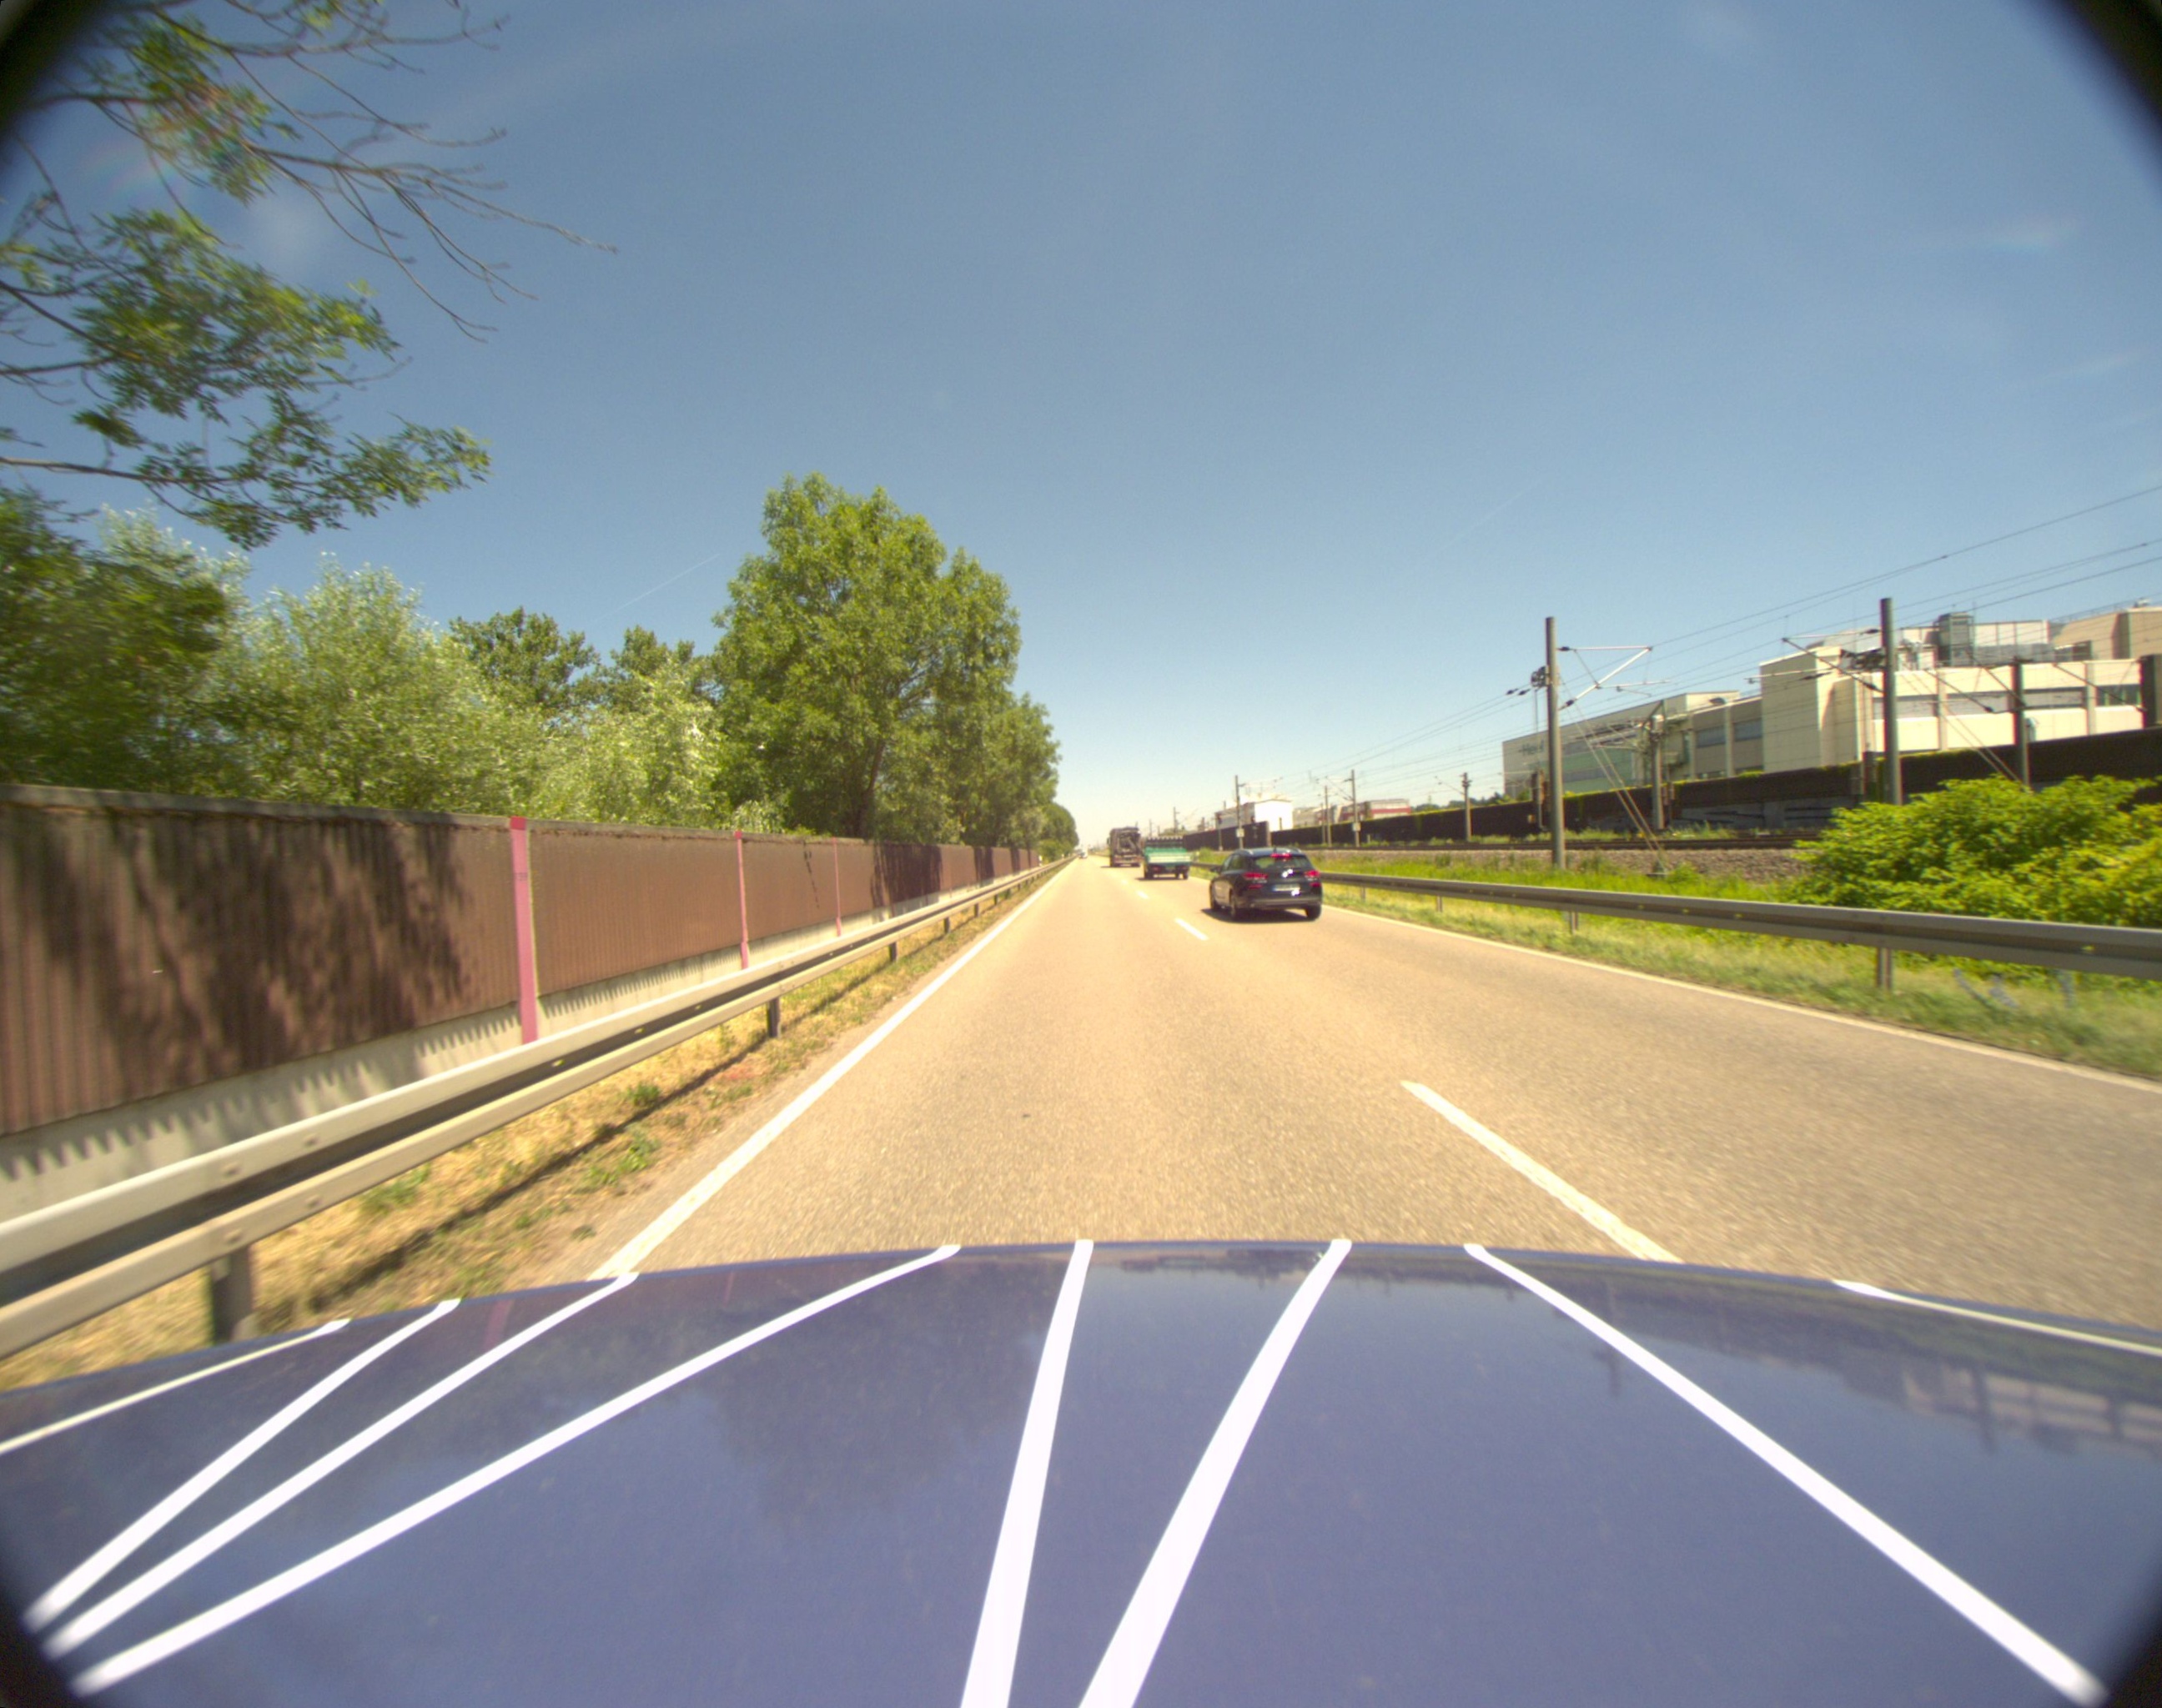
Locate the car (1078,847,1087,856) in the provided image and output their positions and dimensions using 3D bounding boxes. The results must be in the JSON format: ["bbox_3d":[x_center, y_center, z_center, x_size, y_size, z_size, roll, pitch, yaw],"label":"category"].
[{"bbox_3d":[0.450,-0.628,182.946,1.999,2.002,3.999,-2,0,-1],"label":"car"}]

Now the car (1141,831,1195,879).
[{"bbox_3d":[4.545,0.035,40.712,2.267,2.273,6.235,-2,1,2],"label":"car"}]

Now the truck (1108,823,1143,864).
[{"bbox_3d":[4.187,-0.942,73.489,2.665,3.606,10.976,0,0,-1],"label":"truck"}]

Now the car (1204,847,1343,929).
[{"bbox_3d":[4.008,0.630,16.584,1.980,1.499,4.162,-2,1,1],"label":"car"}]
